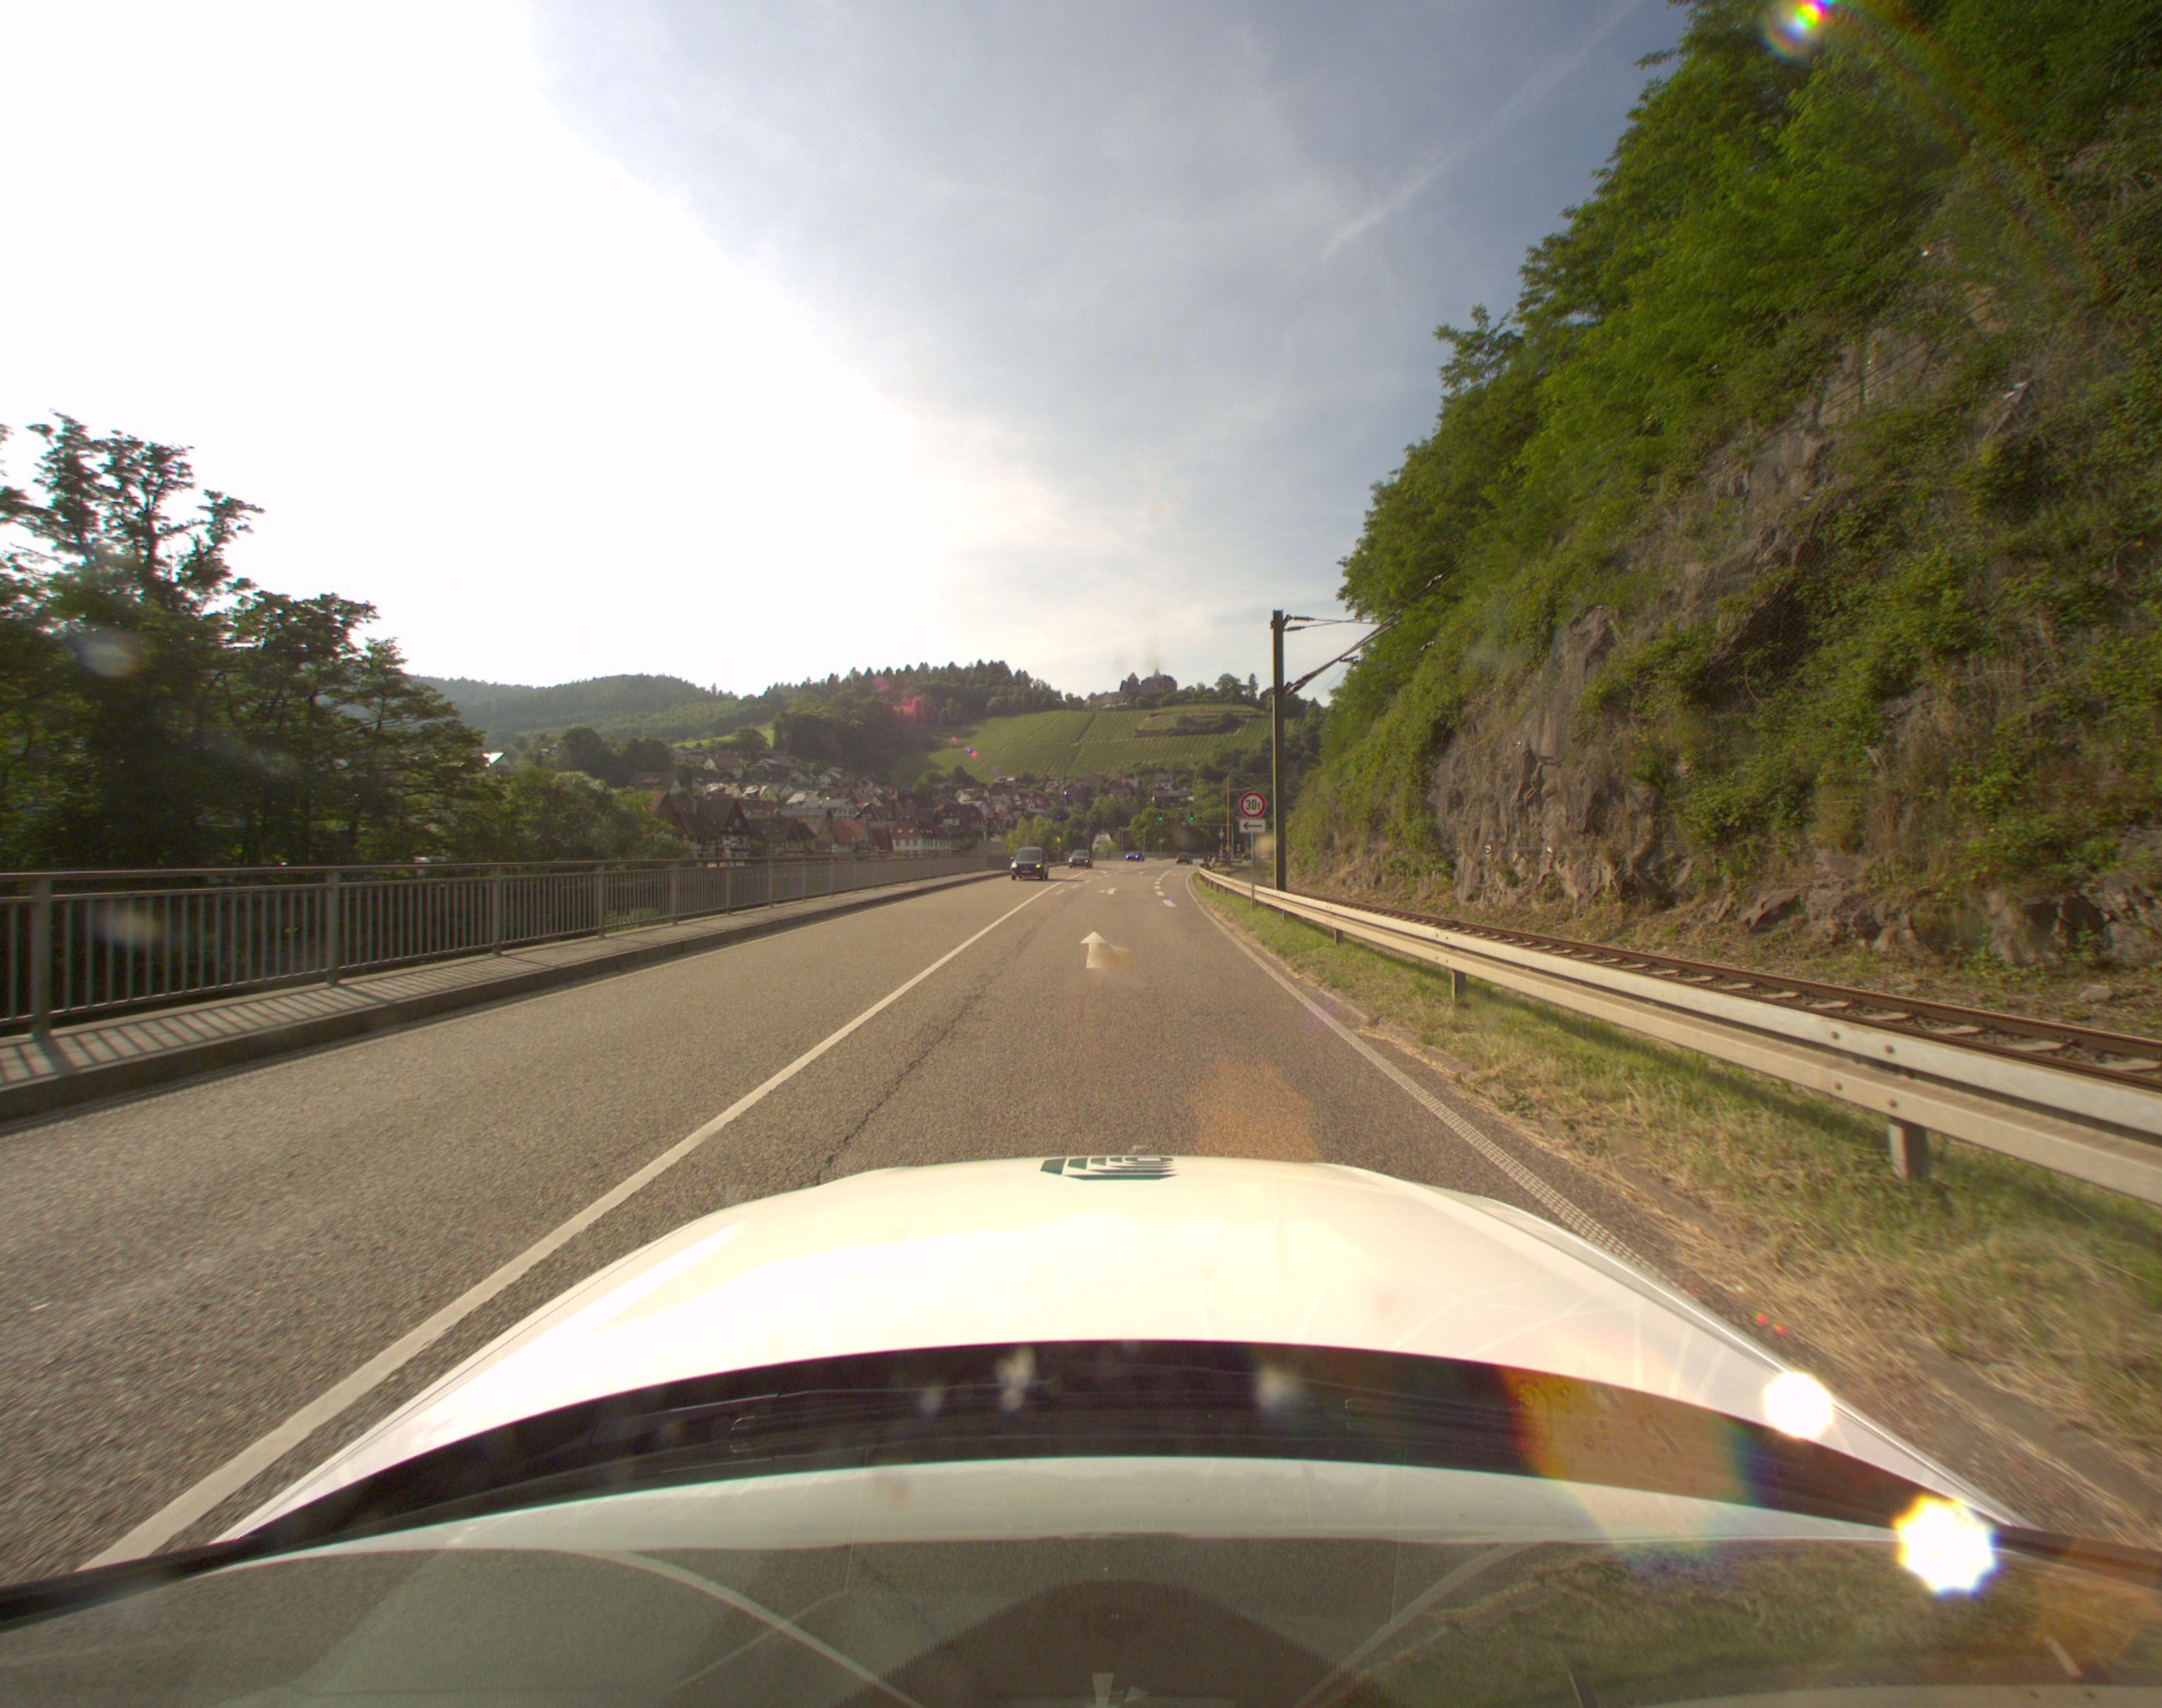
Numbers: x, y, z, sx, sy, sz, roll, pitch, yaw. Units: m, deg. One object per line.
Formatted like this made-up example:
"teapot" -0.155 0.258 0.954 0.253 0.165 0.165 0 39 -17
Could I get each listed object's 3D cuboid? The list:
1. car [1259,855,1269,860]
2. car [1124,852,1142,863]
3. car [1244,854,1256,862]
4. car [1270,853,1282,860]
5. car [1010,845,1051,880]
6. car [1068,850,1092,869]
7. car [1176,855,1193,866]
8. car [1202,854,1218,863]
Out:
"car" 45.009 0.817 200.217 1.631 1.231 4.116 1 1 24
"car" 7.330 0.544 114.421 1.769 1.482 4.542 1 0 14
"car" 32.736 0.780 157.691 1.792 1.453 3.664 -1 -1 19
"car" 42.975 0.491 179.302 1.792 1.408 3.795 -1 -1 27
"car" -2.740 0.432 45.299 1.784 1.828 4.831 0 0 2
"car" -0.040 0.503 74.658 1.808 1.646 4.618 0 0 4
"car" 13.879 0.906 109.399 1.715 1.457 3.425 -1 -1 17
"car" 20.489 0.696 129.297 1.824 1.459 3.732 -1 -1 22
